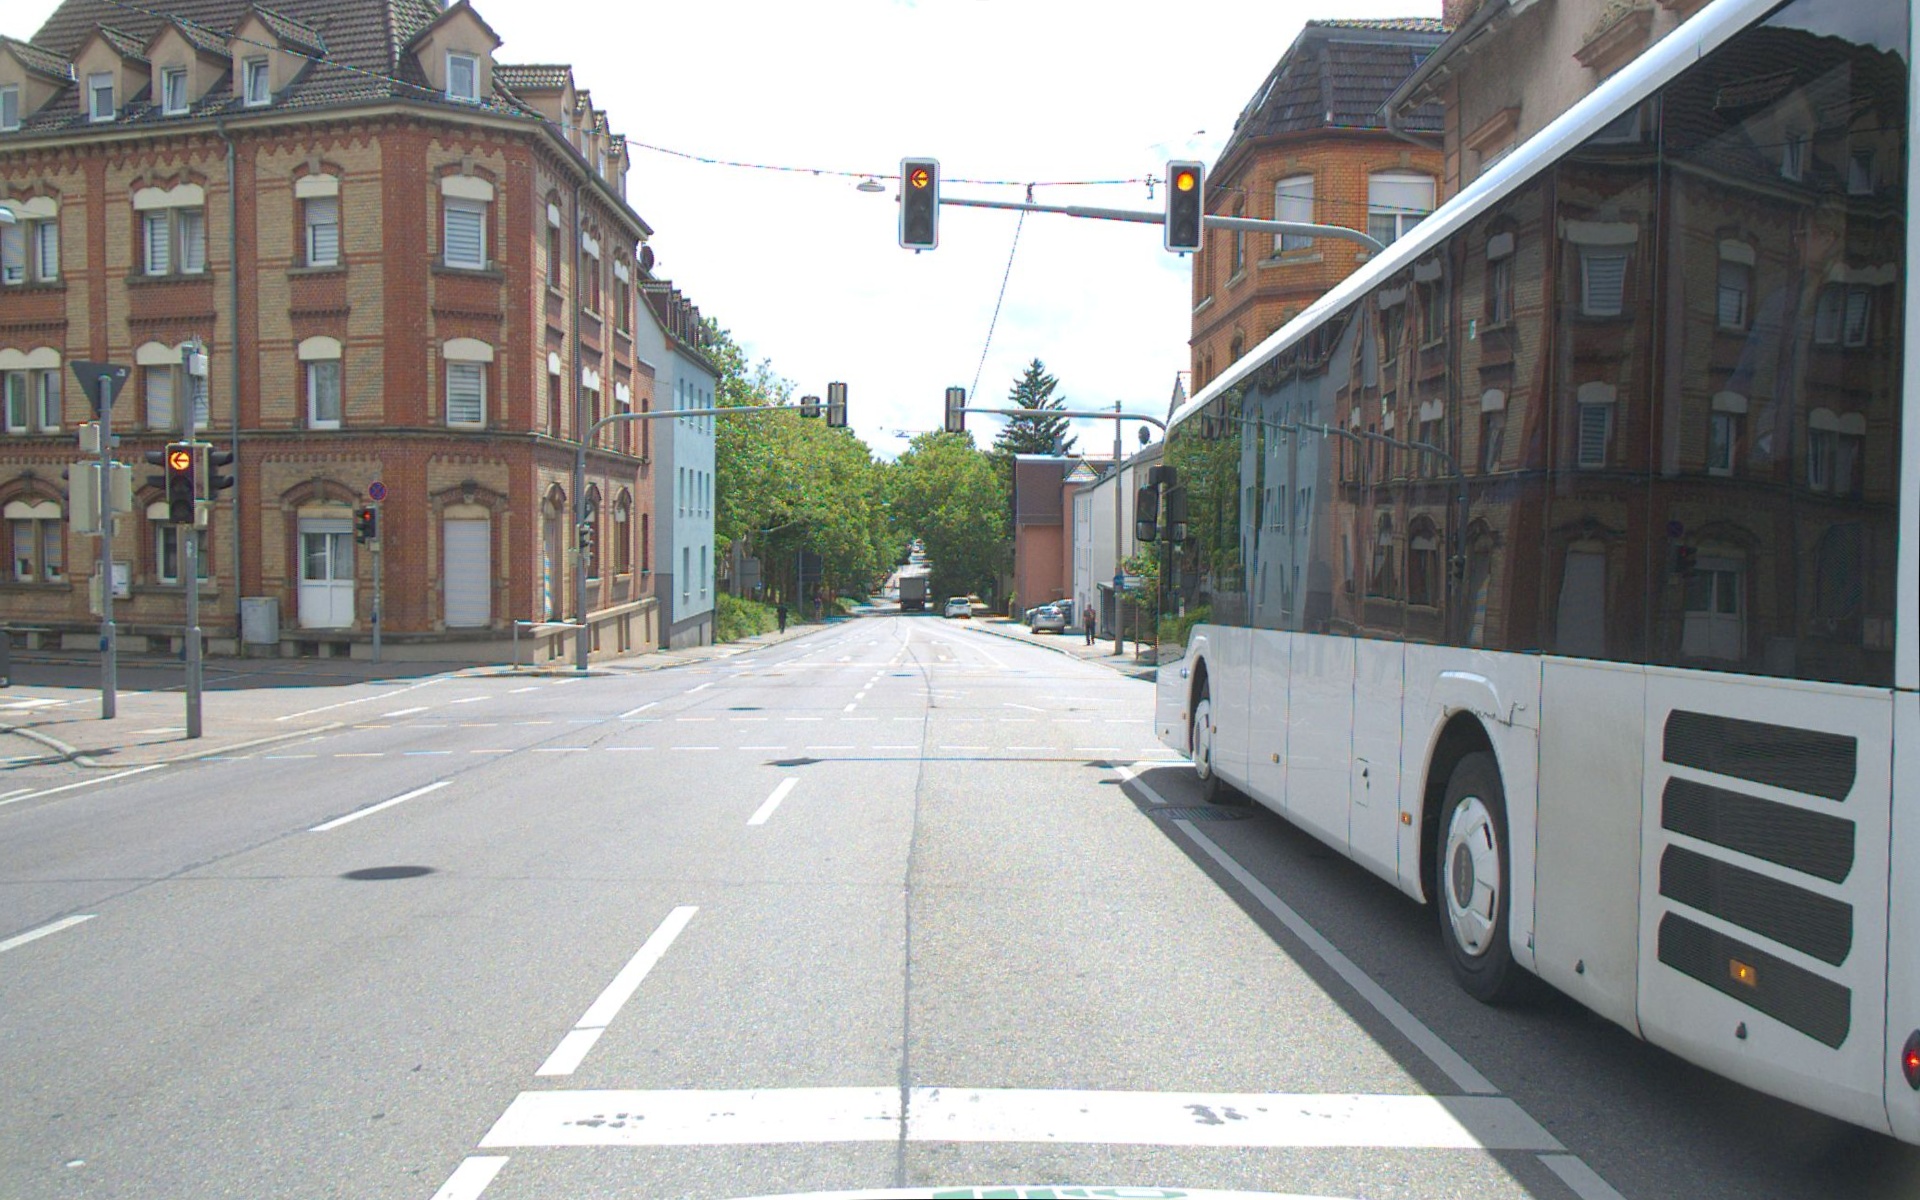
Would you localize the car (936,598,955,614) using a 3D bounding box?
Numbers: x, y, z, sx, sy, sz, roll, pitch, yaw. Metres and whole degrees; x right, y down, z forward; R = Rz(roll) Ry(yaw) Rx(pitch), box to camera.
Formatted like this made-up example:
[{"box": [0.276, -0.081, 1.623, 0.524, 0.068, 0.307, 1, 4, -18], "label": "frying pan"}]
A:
[{"box": [-1.333, 0.517, 153.893, 1.757, 1.434, 4.418, 1, 0, 0], "label": "car"}]

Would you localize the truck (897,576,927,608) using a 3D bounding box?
[{"box": [-4.886, -0.807, 167.445, 2.868, 3.135, 7.881, -1, 0, -3], "label": "truck"}]

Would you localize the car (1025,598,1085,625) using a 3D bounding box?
[{"box": [6.487, 0.781, 113.245, 3.909, 1.788, 1.998, -1, 0, -6], "label": "car"}]

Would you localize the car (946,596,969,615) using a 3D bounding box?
[{"box": [-0.185, 0.458, 129.430, 1.758, 1.434, 3.999, 1, 0, -1], "label": "car"}]

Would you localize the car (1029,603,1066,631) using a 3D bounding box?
[{"box": [4.912, 0.948, 93.120, 1.758, 1.434, 3.999, -1, 1, -2], "label": "car"}]

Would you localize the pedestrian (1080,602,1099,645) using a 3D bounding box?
[{"box": [5.500, 0.984, 70.017, 0.723, 1.781, 0.619, -1, 0, -1], "label": "pedestrian"}]

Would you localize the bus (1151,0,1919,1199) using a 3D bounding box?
[{"box": [3.201, -0.083, 9.300, 2.618, 3.211, 12.459, 1, 0, -1], "label": "bus"}]

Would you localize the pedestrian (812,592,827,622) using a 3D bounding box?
[{"box": [-9.844, 0.496, 115.989, 0.974, 2.049, 1.188, 0, 0, -1], "label": "pedestrian"}]

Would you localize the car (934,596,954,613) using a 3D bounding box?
[{"box": [-1.403, 0.406, 145.787, 1.757, 1.434, 4.418, 1, 0, 0], "label": "car"}]

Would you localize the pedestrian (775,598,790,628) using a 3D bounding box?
[{"box": [-9.360, 0.697, 87.118, 0.714, 1.592, 0.560, 0, 0, -2], "label": "pedestrian"}]
